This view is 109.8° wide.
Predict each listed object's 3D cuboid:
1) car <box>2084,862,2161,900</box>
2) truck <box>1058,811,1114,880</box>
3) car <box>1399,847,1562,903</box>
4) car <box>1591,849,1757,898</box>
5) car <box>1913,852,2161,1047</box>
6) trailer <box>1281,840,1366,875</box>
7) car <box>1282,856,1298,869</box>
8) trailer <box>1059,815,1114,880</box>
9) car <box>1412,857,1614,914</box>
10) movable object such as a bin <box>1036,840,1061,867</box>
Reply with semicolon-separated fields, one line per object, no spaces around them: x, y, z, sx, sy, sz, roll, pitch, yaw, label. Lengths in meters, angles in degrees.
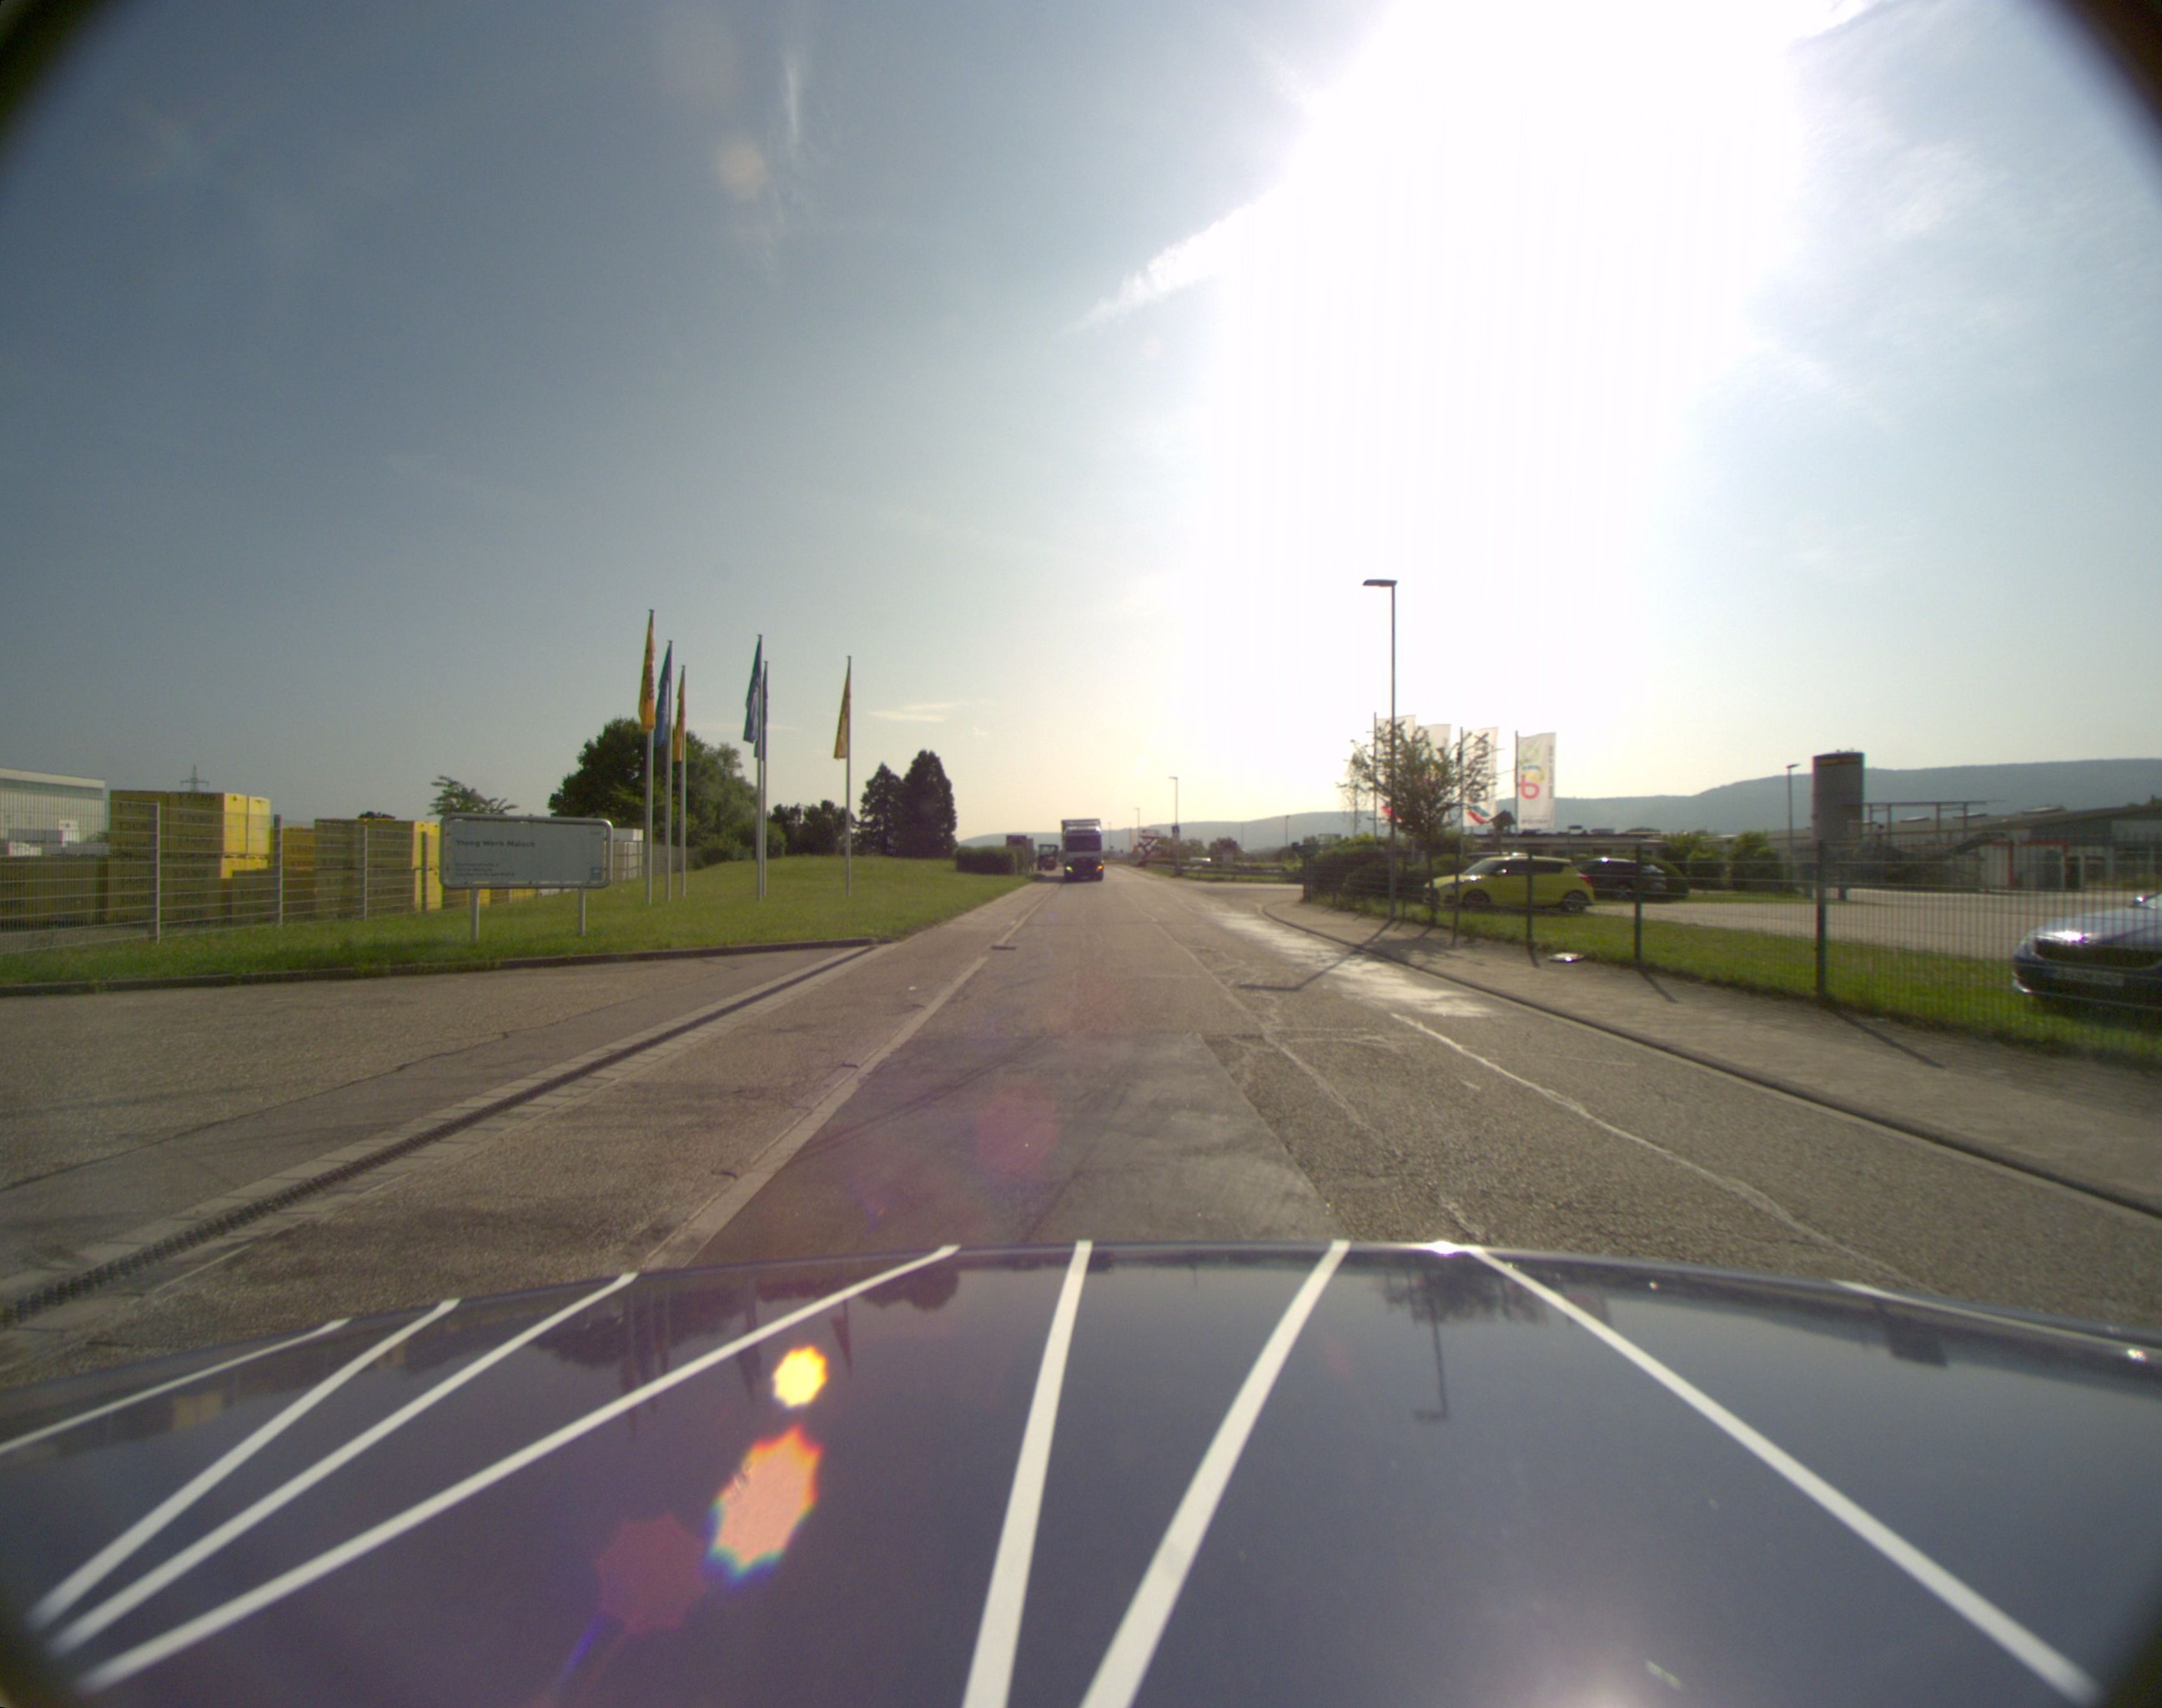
50.683;1.263;35.924;1.854;1.739;4.005;1;0;16;car
0.368;-0.561;50.463;3.395;4.183;6.098;-2;1;1;truck
13.504;0.664;25.914;1.961;1.686;4.499;-2;1;-35;car
22.825;0.702;29.525;4.654;1.742;2.155;1;0;22;car
10.312;0.778;6.213;4.698;1.435;2.078;2;0;0;car
19.476;0.241;61.358;6.315;2.589;2.857;2;0;15;trailer
34.304;1.348;124.998;1.997;2.002;4.160;2;0;9;car
0.513;-0.504;57.180;3.497;4.183;14.232;-2;1;1;trailer
11.092;0.793;19.736;4.174;1.360;1.868;1;0;1;car
-3.778;-0.026;88.538;2.436;2.994;5.750;1;0;-7;movable object such as a bin
